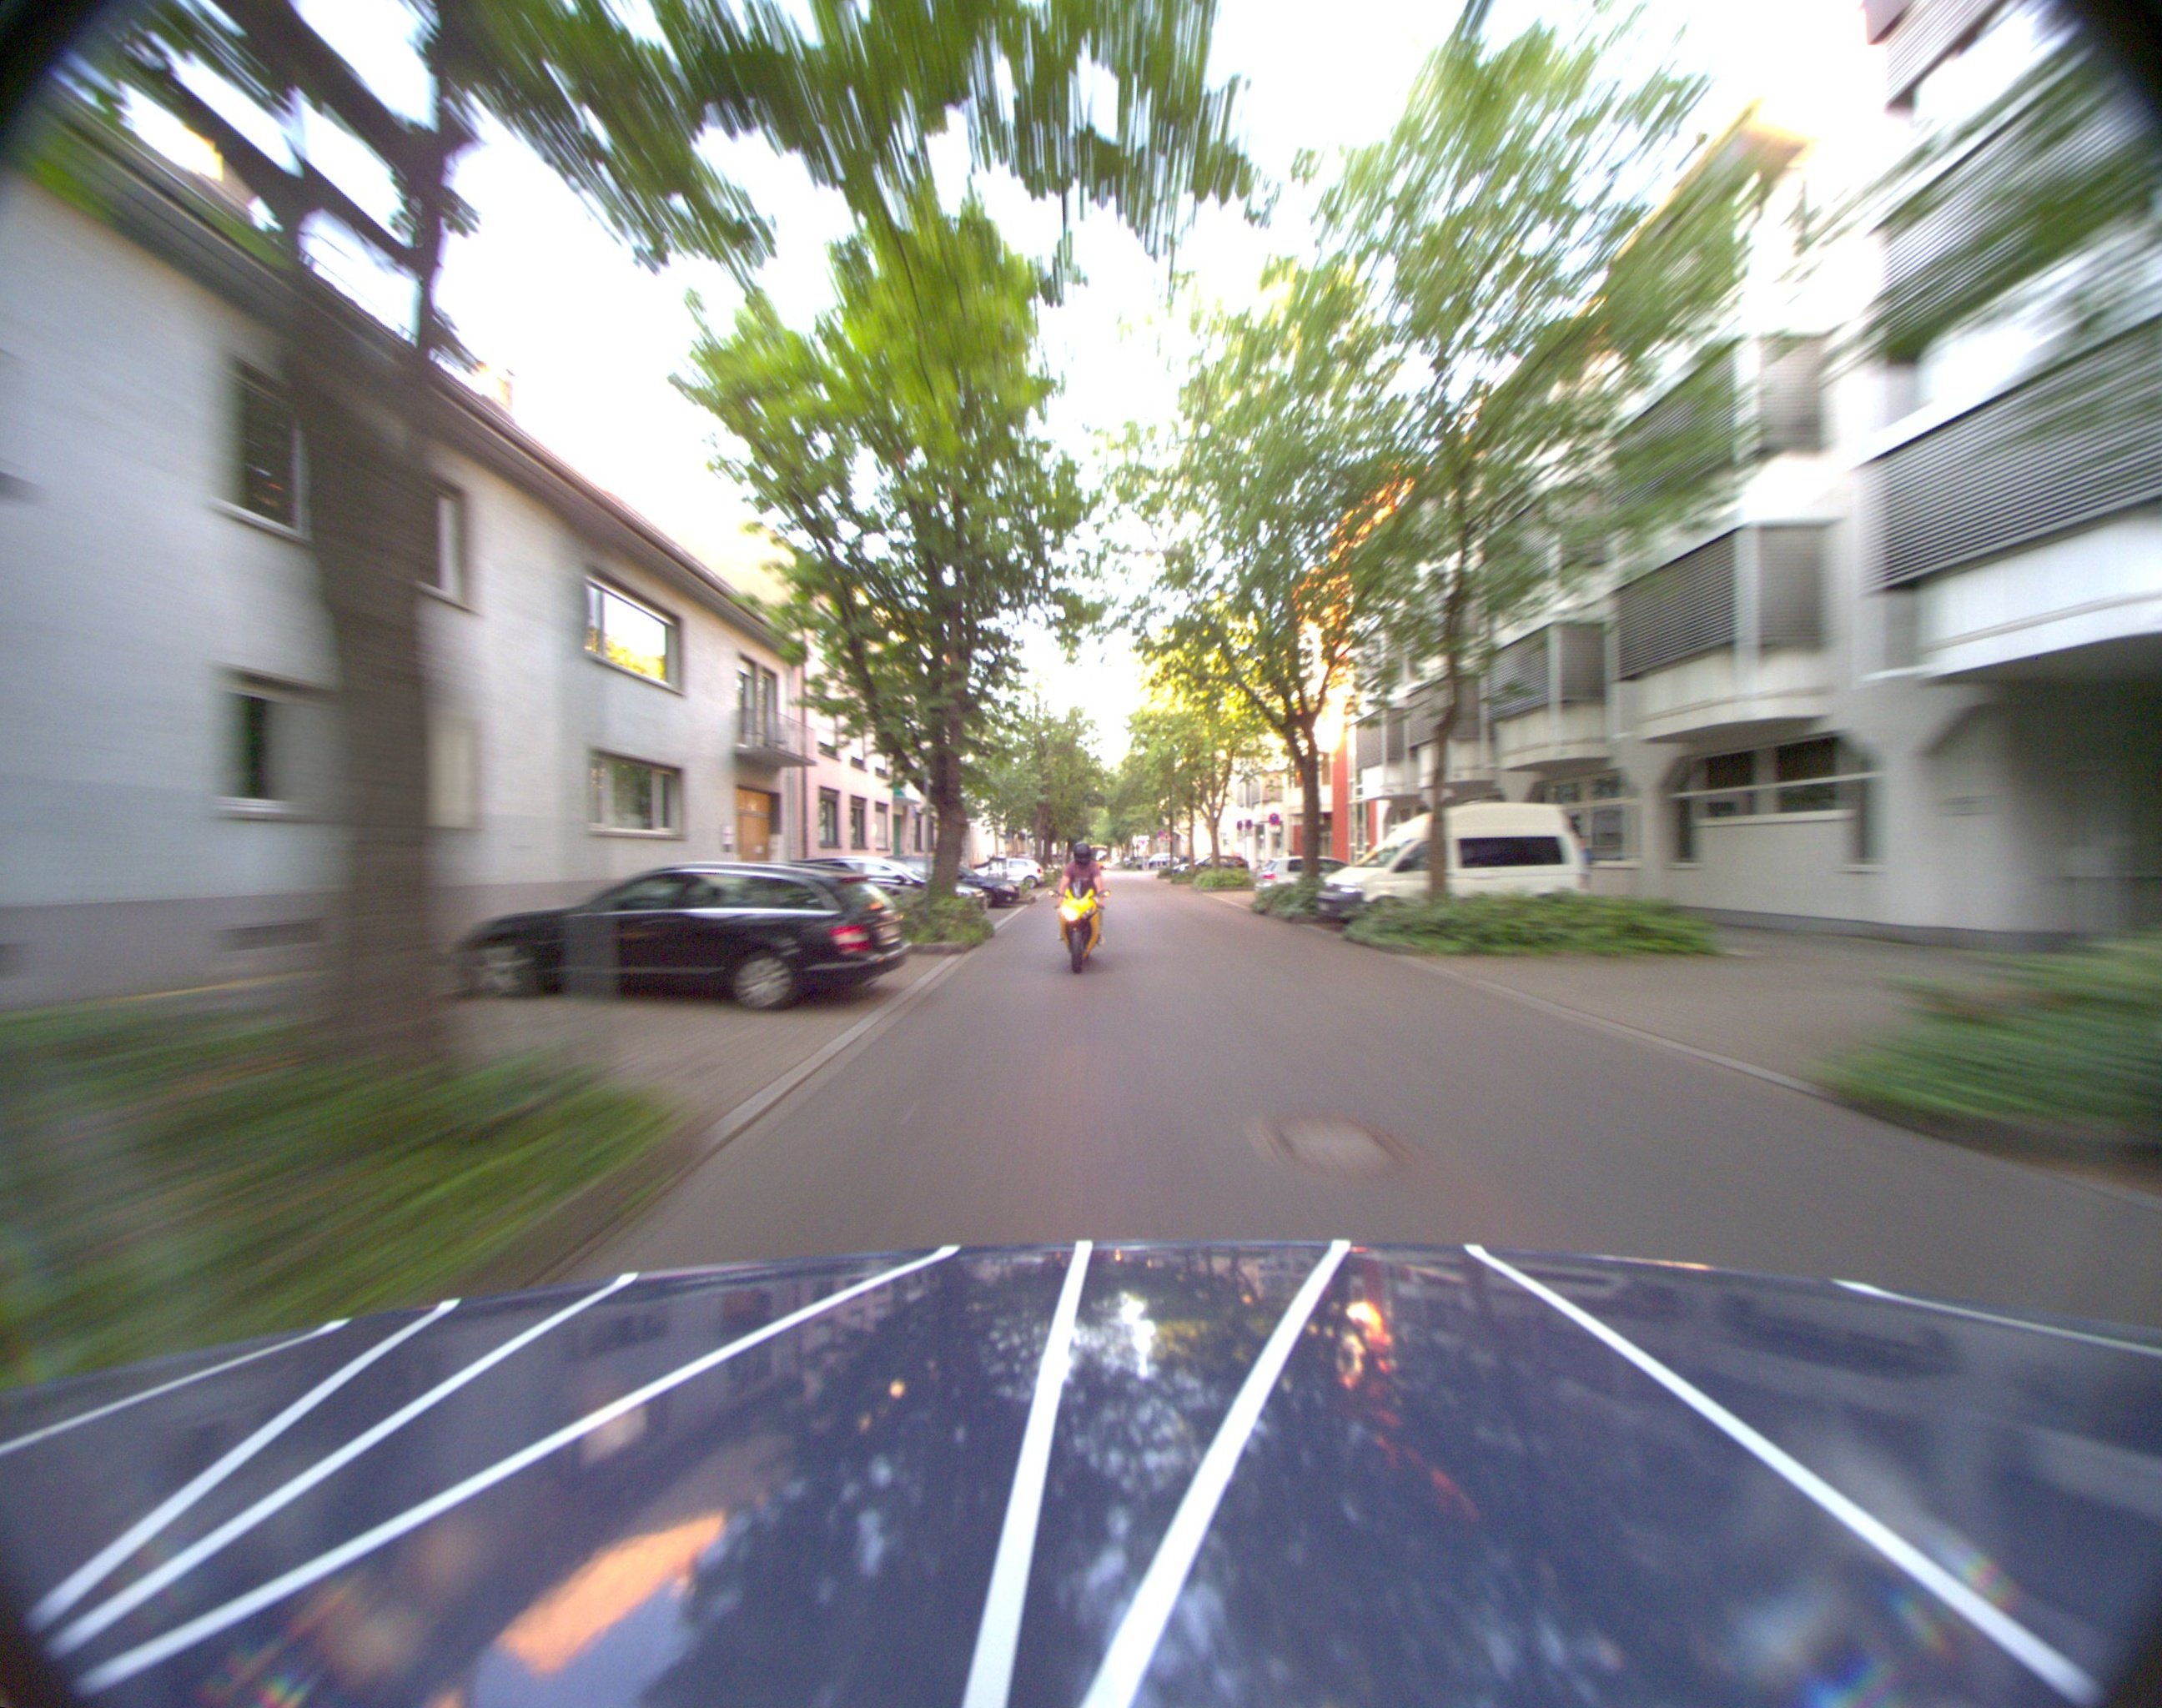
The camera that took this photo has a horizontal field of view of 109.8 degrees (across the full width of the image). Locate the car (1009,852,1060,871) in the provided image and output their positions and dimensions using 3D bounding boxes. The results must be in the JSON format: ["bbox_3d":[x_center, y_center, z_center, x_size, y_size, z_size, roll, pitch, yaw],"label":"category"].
[{"bbox_3d":[-3.592,0.546,59.085,3.858,1.390,1.675,1,0,1],"label":"car"}]

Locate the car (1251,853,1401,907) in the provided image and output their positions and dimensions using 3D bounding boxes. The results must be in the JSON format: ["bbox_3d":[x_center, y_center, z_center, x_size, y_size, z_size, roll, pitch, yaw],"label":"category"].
[{"bbox_3d":[7.363,0.769,23.129,4.062,1.519,1.622,-1,0,4],"label":"car"}]

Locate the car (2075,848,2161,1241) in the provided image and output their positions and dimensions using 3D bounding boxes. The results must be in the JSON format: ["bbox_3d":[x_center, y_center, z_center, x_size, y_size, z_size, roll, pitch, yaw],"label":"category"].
[{"bbox_3d":[6.885,0.803,2.790,4.548,1.673,1.621,0,1,-3],"label":"car"}]

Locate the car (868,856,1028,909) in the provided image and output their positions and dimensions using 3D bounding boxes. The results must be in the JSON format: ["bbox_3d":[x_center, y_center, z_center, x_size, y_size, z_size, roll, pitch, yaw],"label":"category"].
[{"bbox_3d":[-4.058,0.843,23.567,4.594,1.461,1.696,1,1,2],"label":"car"}]

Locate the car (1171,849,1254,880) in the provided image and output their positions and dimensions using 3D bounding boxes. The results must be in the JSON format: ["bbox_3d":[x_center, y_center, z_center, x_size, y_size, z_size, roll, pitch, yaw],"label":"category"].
[{"bbox_3d":[7.611,0.602,44.094,4.475,1.748,1.791,0,0,-3],"label":"car"}]

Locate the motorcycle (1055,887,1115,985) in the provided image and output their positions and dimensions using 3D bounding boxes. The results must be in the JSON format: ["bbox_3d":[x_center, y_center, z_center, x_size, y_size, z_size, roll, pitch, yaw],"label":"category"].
[{"bbox_3d":[0.017,1.075,10.552,0.736,1.115,2.107,-1,0,-2],"label":"motorcycle"}]

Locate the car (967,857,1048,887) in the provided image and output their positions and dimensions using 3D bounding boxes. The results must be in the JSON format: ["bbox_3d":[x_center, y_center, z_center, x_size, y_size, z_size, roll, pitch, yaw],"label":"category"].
[{"bbox_3d":[-3.580,0.871,37.373,3.859,1.390,1.674,1,0,-3],"label":"car"}]

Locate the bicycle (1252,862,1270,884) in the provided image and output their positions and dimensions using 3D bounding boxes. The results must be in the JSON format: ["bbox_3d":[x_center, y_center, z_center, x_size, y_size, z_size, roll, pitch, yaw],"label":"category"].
[{"bbox_3d":[8.429,0.867,35.581,0.454,0.981,1.758,0,1,25],"label":"bicycle"}]

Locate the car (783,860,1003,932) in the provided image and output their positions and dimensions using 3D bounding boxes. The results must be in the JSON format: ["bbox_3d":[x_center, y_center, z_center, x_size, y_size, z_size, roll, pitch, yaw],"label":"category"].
[{"bbox_3d":[-4.134,0.913,17.218,4.456,1.515,1.952,0,0,2],"label":"car"}]

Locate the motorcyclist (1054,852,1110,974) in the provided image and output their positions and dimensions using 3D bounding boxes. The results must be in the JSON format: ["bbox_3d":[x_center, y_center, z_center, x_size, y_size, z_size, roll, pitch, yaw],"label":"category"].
[{"bbox_3d":[0.005,0.780,10.544,0.722,1.605,0.915,-1,1,-2],"label":"motorcyclist"}]

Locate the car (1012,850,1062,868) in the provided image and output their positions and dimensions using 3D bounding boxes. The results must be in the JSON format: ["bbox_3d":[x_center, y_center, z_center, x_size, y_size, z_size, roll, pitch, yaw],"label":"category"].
[{"bbox_3d":[-3.549,0.376,61.171,3.858,1.390,1.675,1,0,1],"label":"car"}]

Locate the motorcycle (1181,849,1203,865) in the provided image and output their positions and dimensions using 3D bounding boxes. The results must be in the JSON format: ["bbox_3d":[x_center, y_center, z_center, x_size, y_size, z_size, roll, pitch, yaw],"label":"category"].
[{"bbox_3d":[8.729,0.234,59.839,1.626,1.136,0.572,-3,1,3],"label":"motorcycle"}]

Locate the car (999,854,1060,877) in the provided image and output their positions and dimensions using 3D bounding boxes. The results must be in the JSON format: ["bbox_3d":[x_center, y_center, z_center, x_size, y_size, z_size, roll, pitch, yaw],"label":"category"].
[{"bbox_3d":[-3.388,0.753,50.289,3.858,1.390,1.675,1,0,1],"label":"car"}]

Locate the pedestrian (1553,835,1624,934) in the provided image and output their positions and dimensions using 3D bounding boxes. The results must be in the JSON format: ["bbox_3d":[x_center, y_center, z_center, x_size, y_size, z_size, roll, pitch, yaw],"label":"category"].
[{"bbox_3d":[10.603,0.624,15.910,0.942,2.002,0.839,-1,1,4],"label":"pedestrian"}]

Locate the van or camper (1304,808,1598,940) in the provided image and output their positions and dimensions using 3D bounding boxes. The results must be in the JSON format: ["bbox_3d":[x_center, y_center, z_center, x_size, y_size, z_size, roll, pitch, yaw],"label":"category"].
[{"bbox_3d":[7.087,0.363,14.942,4.829,2.413,1.945,0,1,1],"label":"van or camper"}]

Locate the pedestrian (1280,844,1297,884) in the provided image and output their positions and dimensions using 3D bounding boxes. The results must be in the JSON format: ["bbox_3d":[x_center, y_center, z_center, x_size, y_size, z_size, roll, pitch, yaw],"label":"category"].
[{"bbox_3d":[9.239,0.436,33.857,0.637,1.734,0.679,-1,1,10],"label":"pedestrian"}]

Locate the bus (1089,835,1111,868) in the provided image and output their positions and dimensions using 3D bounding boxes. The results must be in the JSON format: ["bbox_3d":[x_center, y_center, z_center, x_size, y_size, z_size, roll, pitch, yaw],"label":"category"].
[{"bbox_3d":[2.487,-0.320,99.821,2.833,4.086,7.831,0,0,1],"label":"bus"}]

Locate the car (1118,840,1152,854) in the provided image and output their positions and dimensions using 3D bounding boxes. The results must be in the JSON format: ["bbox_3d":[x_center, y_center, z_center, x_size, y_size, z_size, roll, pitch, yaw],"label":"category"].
[{"bbox_3d":[6.747,-0.846,94.795,3.998,1.752,1.999,0,0,-2],"label":"car"}]

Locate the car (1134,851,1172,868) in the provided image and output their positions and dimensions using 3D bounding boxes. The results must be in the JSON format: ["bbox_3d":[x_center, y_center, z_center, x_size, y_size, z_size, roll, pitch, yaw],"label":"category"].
[{"bbox_3d":[7.452,0.545,79.080,3.858,1.623,1.675,1,0,1],"label":"car"}]

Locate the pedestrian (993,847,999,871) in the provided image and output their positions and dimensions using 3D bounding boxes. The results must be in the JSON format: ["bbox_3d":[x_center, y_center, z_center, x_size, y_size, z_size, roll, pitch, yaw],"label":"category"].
[{"bbox_3d":[-6.978,0.425,62.319,0.449,2.002,0.485,0,1,1],"label":"pedestrian"}]

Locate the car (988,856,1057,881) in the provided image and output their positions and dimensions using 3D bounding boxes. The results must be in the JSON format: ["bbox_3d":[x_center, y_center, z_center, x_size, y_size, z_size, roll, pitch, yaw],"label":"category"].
[{"bbox_3d":[-3.481,0.833,45.441,3.857,1.390,1.675,1,0,4],"label":"car"}]

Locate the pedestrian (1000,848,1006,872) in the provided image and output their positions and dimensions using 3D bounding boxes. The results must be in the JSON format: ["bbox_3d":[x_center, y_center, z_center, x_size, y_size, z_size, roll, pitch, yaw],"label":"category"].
[{"bbox_3d":[-6.402,0.494,62.330,0.449,2.002,0.485,0,1,1],"label":"pedestrian"}]

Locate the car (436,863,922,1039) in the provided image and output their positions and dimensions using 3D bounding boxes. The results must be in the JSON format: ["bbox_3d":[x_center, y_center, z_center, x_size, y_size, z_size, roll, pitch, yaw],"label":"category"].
[{"bbox_3d":[-4.131,0.922,8.193,4.366,1.461,1.732,2,1,6],"label":"car"}]
